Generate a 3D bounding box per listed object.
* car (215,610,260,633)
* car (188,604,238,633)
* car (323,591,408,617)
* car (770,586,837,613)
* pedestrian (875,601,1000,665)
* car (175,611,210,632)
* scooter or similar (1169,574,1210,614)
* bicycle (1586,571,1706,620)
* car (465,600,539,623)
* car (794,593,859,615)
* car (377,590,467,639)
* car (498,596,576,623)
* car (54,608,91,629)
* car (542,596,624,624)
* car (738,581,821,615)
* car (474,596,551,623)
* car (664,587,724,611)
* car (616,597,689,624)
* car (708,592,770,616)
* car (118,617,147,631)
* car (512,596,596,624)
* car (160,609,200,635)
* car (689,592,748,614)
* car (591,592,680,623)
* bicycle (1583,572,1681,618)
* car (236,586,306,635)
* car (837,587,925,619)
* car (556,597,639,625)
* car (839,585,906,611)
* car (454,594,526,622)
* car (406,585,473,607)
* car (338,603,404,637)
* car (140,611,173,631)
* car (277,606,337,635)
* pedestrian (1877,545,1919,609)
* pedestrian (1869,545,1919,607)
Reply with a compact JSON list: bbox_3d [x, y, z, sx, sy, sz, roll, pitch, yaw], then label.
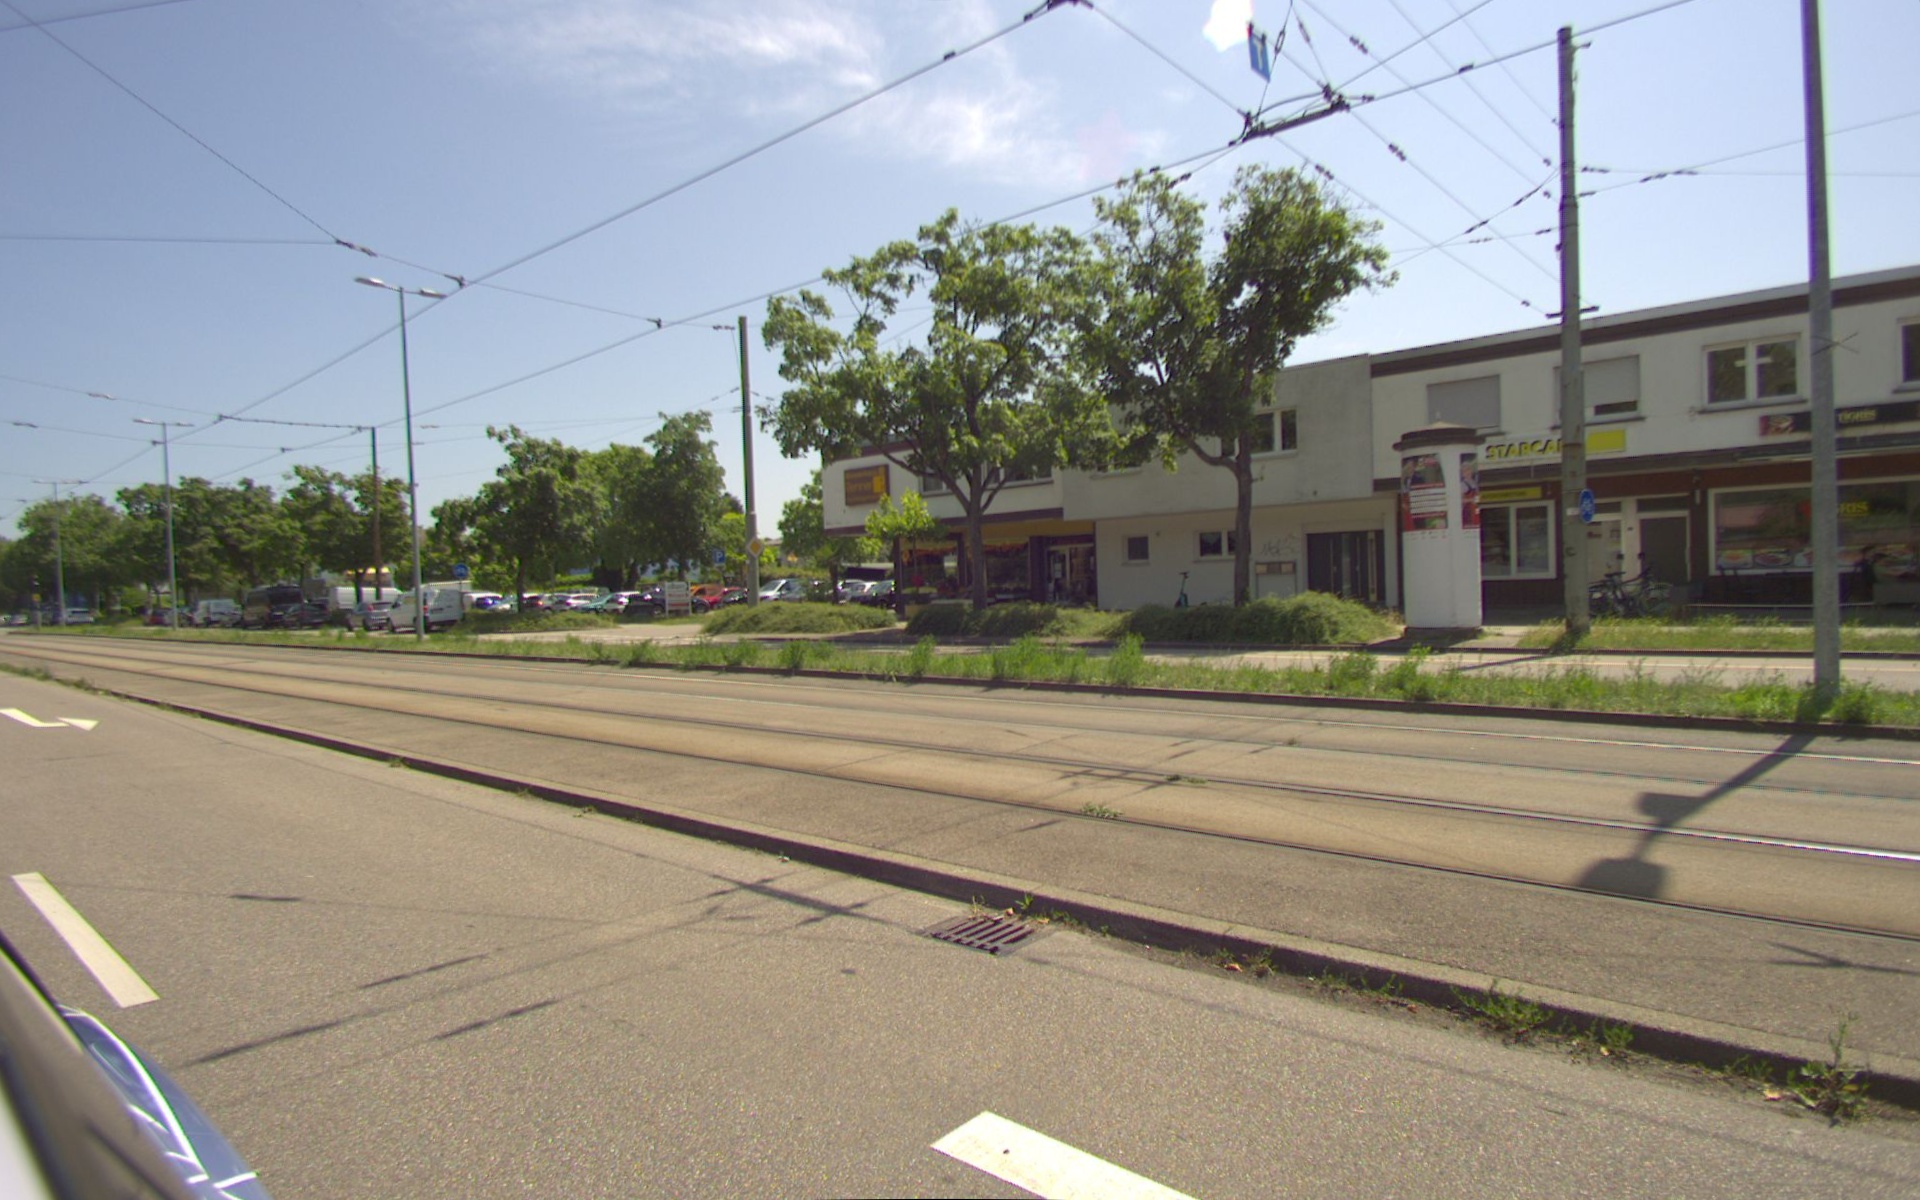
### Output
[{"bbox_3d":[-47.953,1.399,67.172,3.608,1.475,1.744,0,0,42],"label":"car"},{"bbox_3d":[-52.406,1.272,70.969,4.816,1.963,1.899,0,0,42],"label":"car"},{"bbox_3d":[-46.244,0.266,78.792,2.029,1.970,5.363,0,0,42],"label":"car"},{"bbox_3d":[-9.891,-0.041,64.107,1.804,1.669,3.943,0,0,43],"label":"car"},{"bbox_3d":[-0.794,1.081,34.696,3.997,2.029,1.973,0,0,40],"label":"pedestrian"},{"bbox_3d":[-56.579,1.567,74.599,3.261,1.489,1.411,0,0,41],"label":"car"},{"bbox_3d":[7.078,-0.191,31.279,0.448,1.200,1.349,-1,0,-29],"label":"scooter or similar"},{"bbox_3d":[14.365,-0.096,21.227,2.028,0.986,0.604,0,0,41],"label":"bicycle"},{"bbox_3d":[-29.395,0.716,65.052,1.794,1.417,3.950,-1,0,37],"label":"car"},{"bbox_3d":[-8.166,0.210,61.955,1.764,1.294,3.675,0,0,43],"label":"car"},{"bbox_3d":[-24.985,0.648,46.924,5.342,2.025,1.856,-1,4,42],"label":"car"},{"bbox_3d":[-25.603,0.573,61.403,1.827,1.501,4.030,-1,1,34],"label":"car"},{"bbox_3d":[-71.344,1.448,81.339,4.569,1.622,1.705,0,0,42],"label":"car"},{"bbox_3d":[-21.576,0.555,58.048,1.855,1.501,4.099,0,0,34],"label":"car"},{"bbox_3d":[-11.671,-0.157,65.756,2.225,2.085,5.055,0,0,41],"label":"car"},{"bbox_3d":[-27.715,0.596,62.761,1.862,1.499,3.955,-1,1,34],"label":"car"},{"bbox_3d":[-19.038,-0.097,72.551,1.689,1.665,4.082,-1,0,35],"label":"car"},{"bbox_3d":[-15.979,0.522,52.732,1.639,1.241,3.385,-1,1,34],"label":"car"},{"bbox_3d":[-15.162,0.280,69.509,1.683,1.597,3.948,0,0,39],"label":"car"},{"bbox_3d":[-73.802,2.159,90.255,3.423,1.167,1.561,0,0,43],"label":"car"},{"bbox_3d":[-23.729,0.557,59.233,2.018,1.501,4.117,-1,1,34],"label":"car"},{"bbox_3d":[-59.997,1.692,77.829,4.494,1.907,1.614,0,0,41],"label":"car"},{"bbox_3d":[-16.992,0.202,71.435,1.712,1.505,3.953,0,0,35],"label":"car"},{"bbox_3d":[-17.550,0.405,54.858,1.983,1.501,4.120,-1,1,39],"label":"car"},{"bbox_3d":[14.947,-0.099,22.529,1.758,0.986,0.533,0,0,41],"label":"bicycle"},{"bbox_3d":[-42.061,0.596,61.696,5.666,2.859,2.214,0,0,42],"label":"car"},{"bbox_3d":[-3.598,0.112,46.712,1.682,1.306,3.944,-2,1,42],"label":"car"},{"bbox_3d":[-20.044,0.579,56.052,1.908,1.501,3.995,0,0,34],"label":"car"},{"bbox_3d":[-5.266,-0.137,60.973,1.661,1.531,3.943,0,0,43],"label":"car"},{"bbox_3d":[-31.126,0.519,67.127,1.794,1.730,3.951,-1,1,37],"label":"car"},{"bbox_3d":[-52.729,-0.413,102.531,2.145,2.078,5.674,0,0,38],"label":"car"},{"bbox_3d":[-29.835,0.983,51.224,4.124,1.513,1.633,-1,4,42],"label":"car"},{"bbox_3d":[-65.083,1.686,81.939,3.423,1.491,1.561,0,0,43],"label":"car"},{"bbox_3d":[-37.186,1.137,57.595,3.751,1.589,1.950,0,0,42],"label":"car"},{"bbox_3d":[19.382,-0.461,20.733,0.842,1.278,0.583,0,0,41],"label":"pedestrian"},{"bbox_3d":[19.798,-0.492,21.398,0.842,1.278,0.583,0,0,41],"label":"pedestrian"}]
